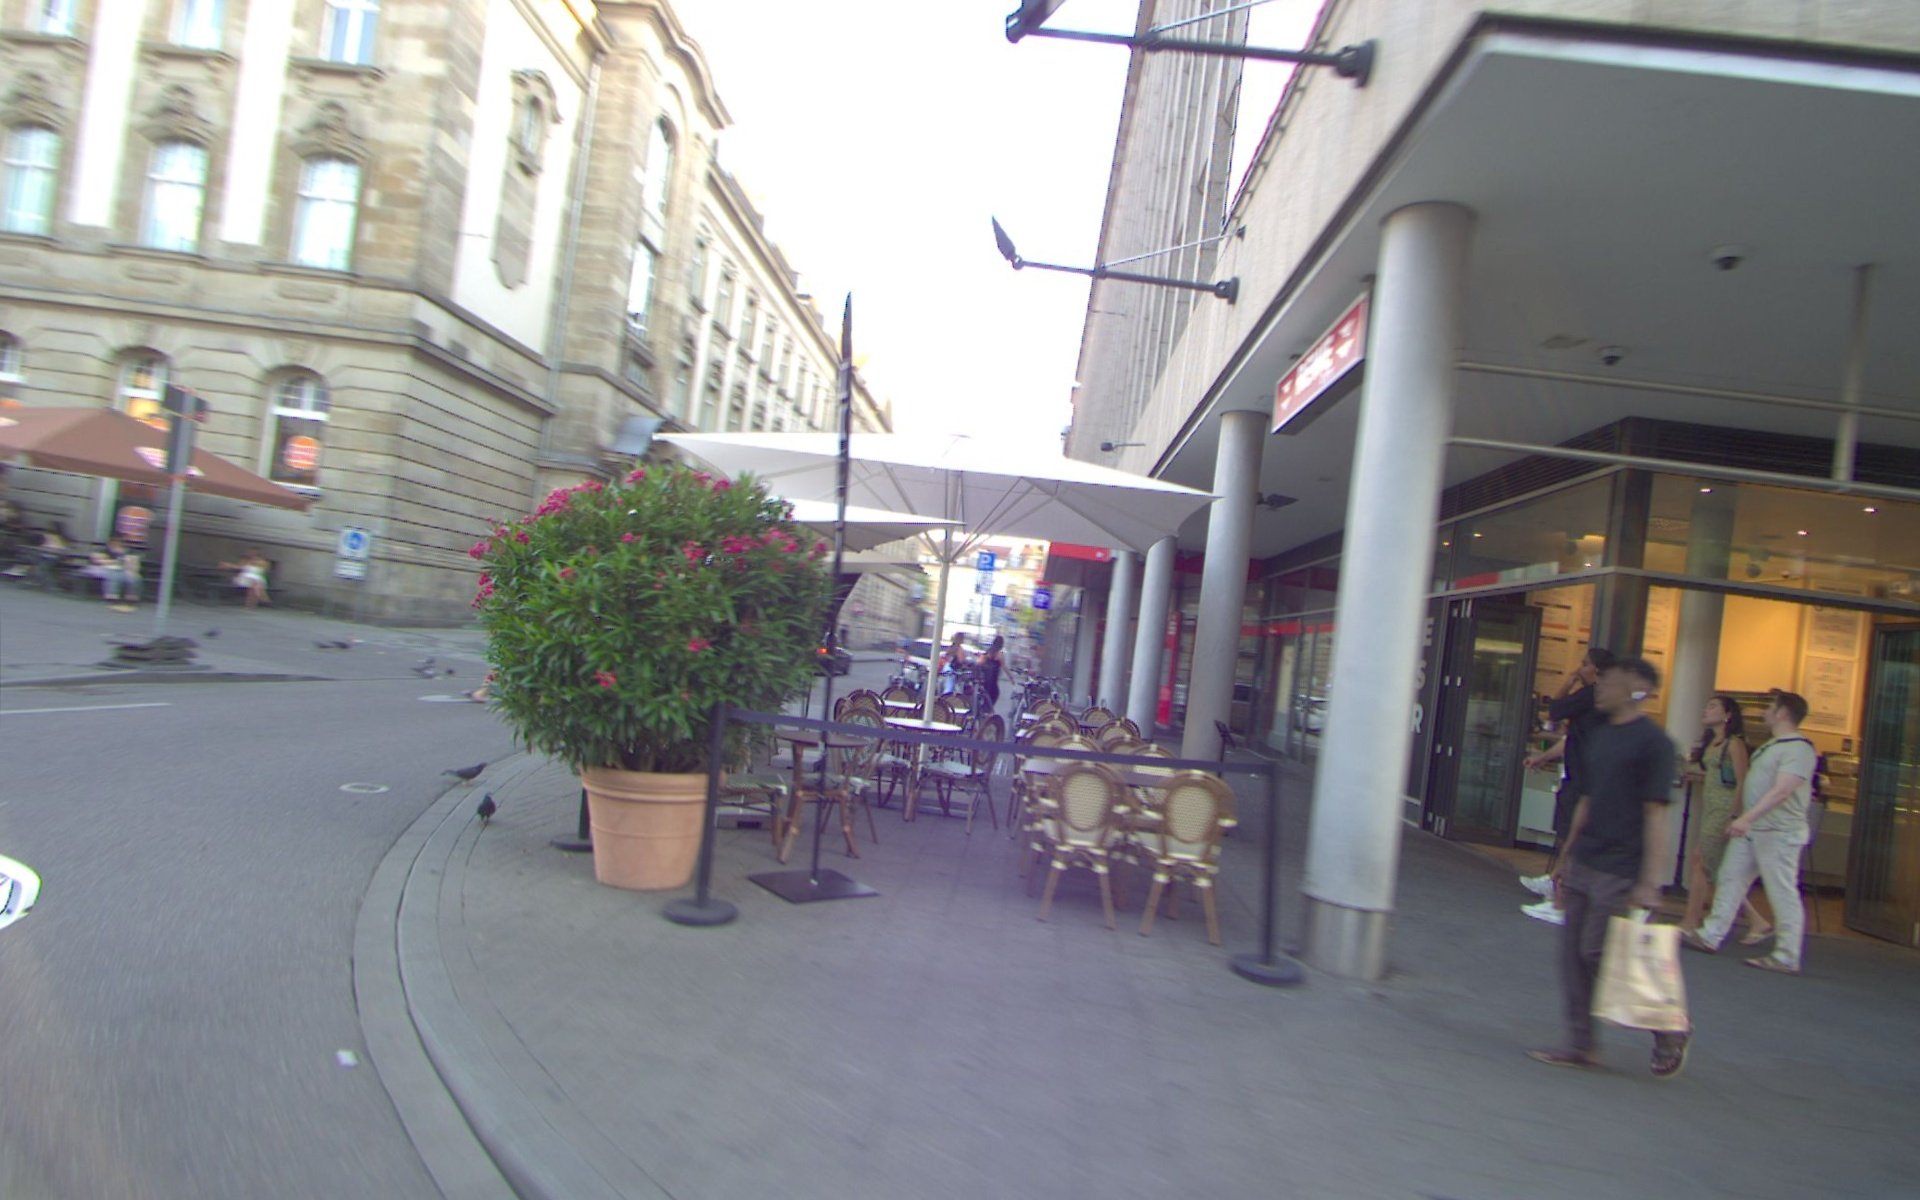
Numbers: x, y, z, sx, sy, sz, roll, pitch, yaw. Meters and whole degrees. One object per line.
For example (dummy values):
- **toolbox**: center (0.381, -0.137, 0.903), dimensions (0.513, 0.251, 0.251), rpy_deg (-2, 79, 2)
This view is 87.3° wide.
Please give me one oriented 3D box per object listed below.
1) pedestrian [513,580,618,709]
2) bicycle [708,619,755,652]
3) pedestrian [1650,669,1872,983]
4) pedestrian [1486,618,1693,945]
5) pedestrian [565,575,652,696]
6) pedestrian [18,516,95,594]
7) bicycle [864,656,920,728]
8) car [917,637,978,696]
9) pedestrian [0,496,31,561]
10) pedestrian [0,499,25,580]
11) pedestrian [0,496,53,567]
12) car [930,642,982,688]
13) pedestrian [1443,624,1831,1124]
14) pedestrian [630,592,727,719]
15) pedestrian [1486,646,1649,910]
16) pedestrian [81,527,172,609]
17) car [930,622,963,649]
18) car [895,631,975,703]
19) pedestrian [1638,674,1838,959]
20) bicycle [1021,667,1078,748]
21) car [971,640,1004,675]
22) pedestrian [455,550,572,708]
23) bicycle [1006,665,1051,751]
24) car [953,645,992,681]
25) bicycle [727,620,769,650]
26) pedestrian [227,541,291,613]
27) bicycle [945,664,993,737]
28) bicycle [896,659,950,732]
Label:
- **pedestrian**: center (-5.371, 0.620, 13.743), dimensions (0.857, 1.598, 0.807), rpy_deg (7, -3, 4)
- **bicycle**: center (-9.398, 1.463, 41.393), dimensions (1.653, 1.053, 0.488), rpy_deg (9, -1, 10)
- **pedestrian**: center (5.125, 1.400, 6.484), dimensions (0.706, 1.808, 0.665), rpy_deg (7, 0, 5)
- **pedestrian**: center (4.279, 1.189, 6.904), dimensions (0.768, 2.038, 0.689), rpy_deg (7, 0, 5)
- **pedestrian**: center (-5.879, 0.592, 16.880), dimensions (0.858, 1.860, 0.867), rpy_deg (10, -1, -1)
- **pedestrian**: center (-16.302, -0.805, 18.160), dimensions (0.688, 1.239, 0.618), rpy_deg (9, -2, 19)
- **bicycle**: center (-1.073, 1.451, 16.249), dimensions (0.550, 1.053, 1.687), rpy_deg (5, -2, 5)
- **car**: center (-0.381, 2.248, 34.711), dimensions (1.743, 1.654, 4.094), rpy_deg (9, -2, 2)
- **pedestrian**: center (-20.600, -1.558, 21.562), dimensions (0.571, 1.323, 0.594), rpy_deg (10, -2, 3)
- **pedestrian**: center (-17.553, -1.147, 18.002), dimensions (0.640, 1.398, 0.807), rpy_deg (9, -2, 15)
- **pedestrian**: center (-19.585, -1.418, 20.959), dimensions (0.598, 1.323, 0.609), rpy_deg (10, -2, 0)
- **car**: center (-0.125, 2.587, 40.419), dimensions (1.619, 1.540, 3.288), rpy_deg (9, -2, 4)
- **pedestrian**: center (2.698, 1.025, 4.132), dimensions (0.906, 1.739, 0.766), rpy_deg (7, 0, 6)
- **pedestrian**: center (-3.957, 0.787, 14.161), dimensions (0.856, 1.664, 0.733), rpy_deg (6, -2, 24)
- **pedestrian**: center (4.700, 1.336, 7.837), dimensions (0.705, 1.870, 0.665), rpy_deg (7, 0, 10)
- **pedestrian**: center (-14.826, -0.553, 17.904), dimensions (0.812, 1.256, 0.782), rpy_deg (9, -2, 19)
- **car**: center (-0.904, 2.477, 69.407), dimensions (1.766, 1.527, 4.004), rpy_deg (8, -2, 4)
- **car**: center (-0.647, 1.908, 29.028), dimensions (1.742, 1.654, 4.057), rpy_deg (9, -2, 4)
- **pedestrian**: center (5.472, 1.480, 7.121), dimensions (0.706, 1.808, 0.665), rpy_deg (7, 0, 5)
- **bicycle**: center (1.406, 1.683, 16.080), dimensions (0.537, 1.130, 1.813), rpy_deg (6, -2, -4)
- **car**: center (1.923, 3.927, 68.623), dimensions (1.841, 2.040, 3.770), rpy_deg (9, -2, 4)
- **pedestrian**: center (-5.698, 0.381, 12.895), dimensions (0.857, 1.859, 0.807), rpy_deg (7, -3, 4)
- **bicycle**: center (1.019, 1.576, 15.048), dimensions (0.536, 1.130, 1.815), rpy_deg (5, -2, 4)
- **car**: center (0.695, 3.215, 51.794), dimensions (1.619, 1.540, 3.288), rpy_deg (9, -2, 4)
- **bicycle**: center (-9.311, 1.522, 44.162), dimensions (1.659, 1.053, 0.486), rpy_deg (10, -1, -13)
- **pedestrian**: center (-14.590, -0.476, 20.938), dimensions (0.760, 1.324, 0.664), rpy_deg (11, 1, 29)
- **bicycle**: center (0.166, 1.586, 16.175), dimensions (0.550, 1.053, 1.687), rpy_deg (5, -2, 5)
- **bicycle**: center (-0.575, 1.516, 16.228), dimensions (0.550, 1.053, 1.687), rpy_deg (5, -2, 5)
